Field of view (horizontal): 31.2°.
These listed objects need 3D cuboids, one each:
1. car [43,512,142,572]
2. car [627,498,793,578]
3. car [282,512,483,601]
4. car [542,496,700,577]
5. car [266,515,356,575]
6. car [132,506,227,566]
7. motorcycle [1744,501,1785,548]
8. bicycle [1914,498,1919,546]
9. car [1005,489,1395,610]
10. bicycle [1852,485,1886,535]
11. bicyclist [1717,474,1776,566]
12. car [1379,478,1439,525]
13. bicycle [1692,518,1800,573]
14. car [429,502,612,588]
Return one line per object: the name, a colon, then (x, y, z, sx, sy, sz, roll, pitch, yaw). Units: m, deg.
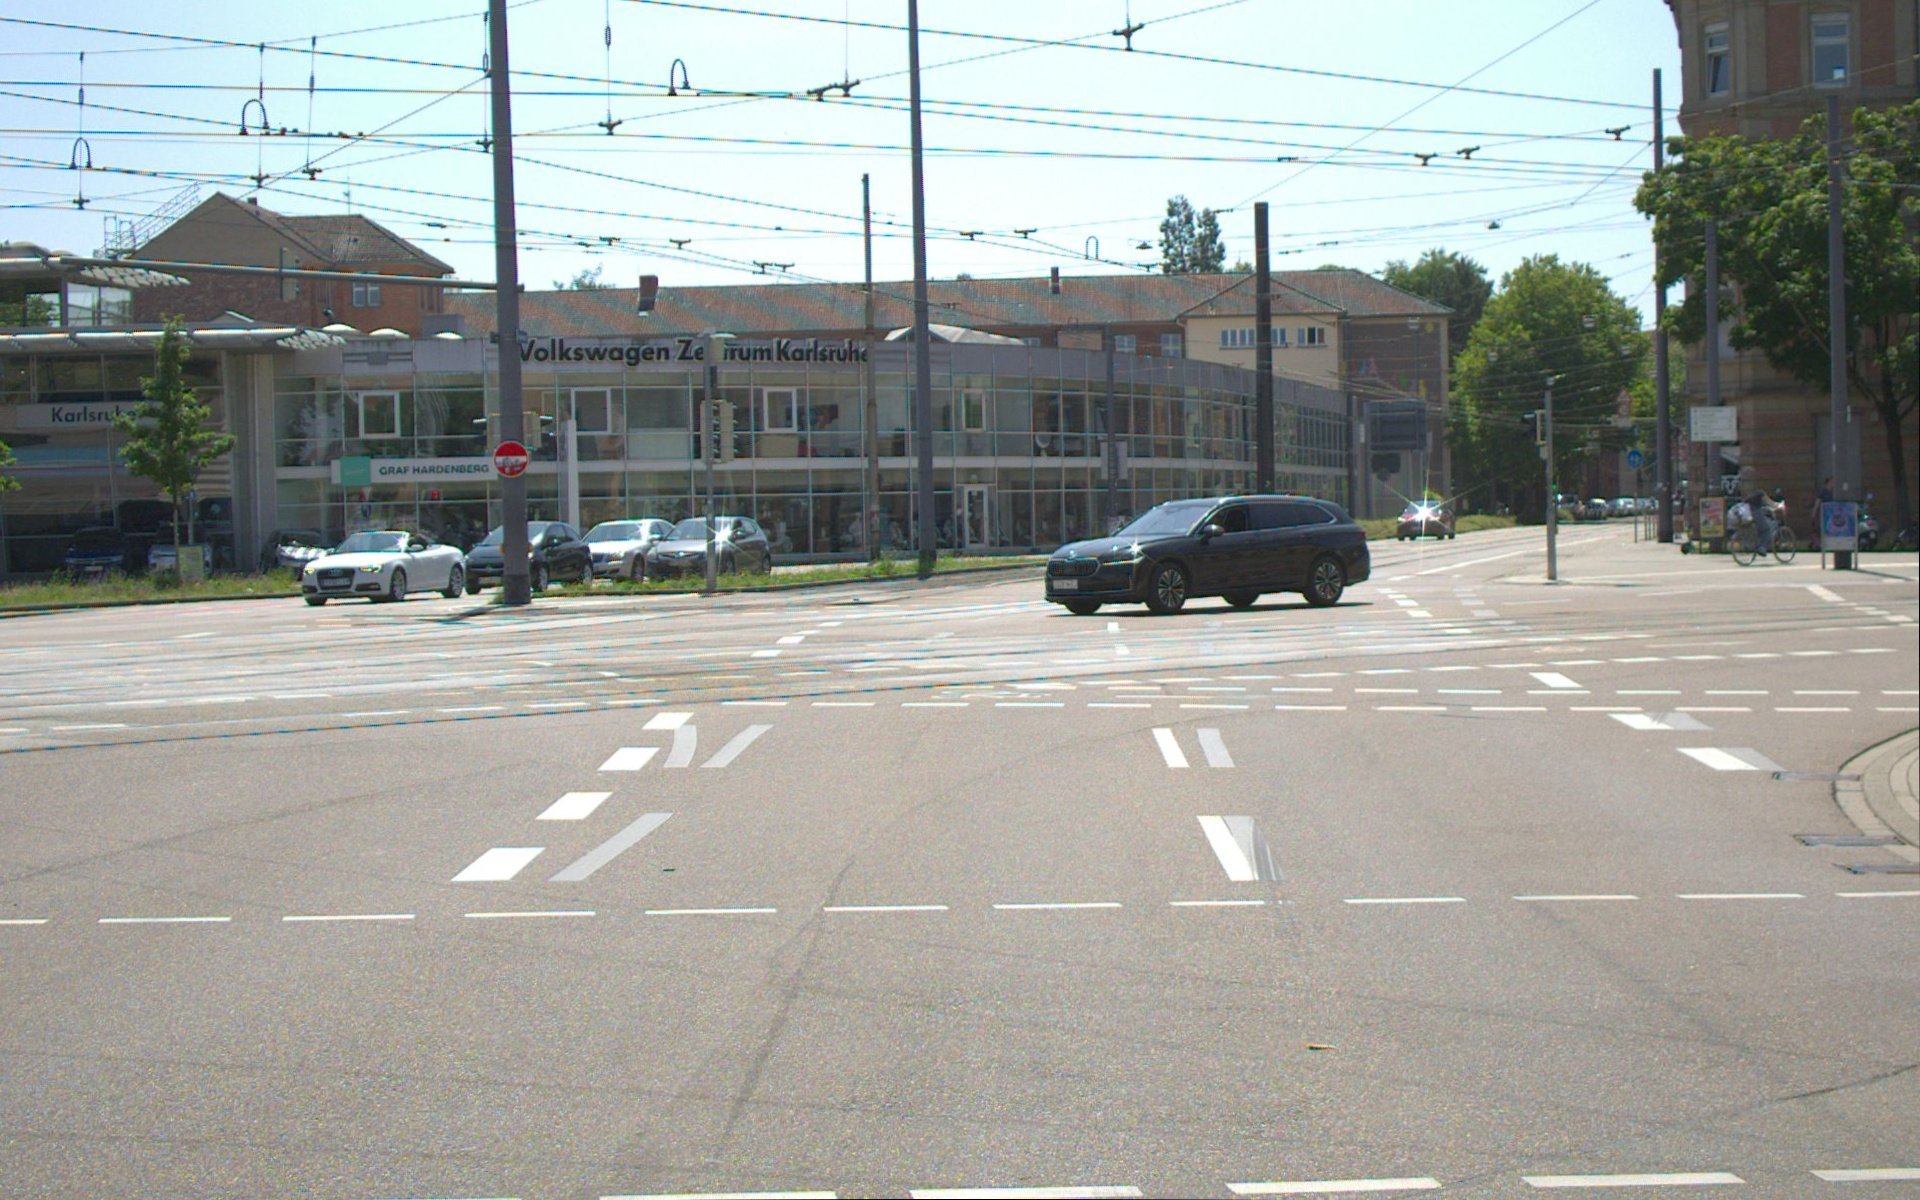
car: (-25.601, -1.708, 101.562, 1.920, 1.701, 4.000, 1, 1, 0)
car: (-5.367, -1.369, 74.495, 1.995, 1.631, 4.843, -1, 2, 16)
car: (-11.007, -0.863, 65.898, 2.078, 1.574, 4.844, -1, 2, 13)
car: (-7.649, -1.469, 77.996, 1.995, 1.733, 4.540, -1, 2, 16)
car: (-19.207, -1.621, 101.912, 1.920, 1.701, 4.000, 1, 1, 0)
car: (-23.049, -1.869, 101.660, 1.920, 1.701, 4.000, 1, 1, 0)
motorcycle: (18.951, -1.786, 81.009, 0.580, 1.071, 1.946, -1, 1, 3)
bicycle: (22.653, -1.839, 80.506, 0.551, 1.116, 1.819, -1, 2, 15)
car: (3.183, -0.680, 45.235, 4.830, 1.460, 2.000, -2, 2, -31)
bicycle: (21.511, -2.129, 81.353, 0.442, 1.142, 2.093, 1, 1, 6)
bicyclist: (15.615, -1.585, 68.254, 1.060, 1.802, 0.479, 1, 0, -25)
car: (17.870, -3.892, 136.697, 1.995, 1.769, 3.998, 1, 1, 12)
bicycle: (15.597, -1.077, 68.229, 2.105, 1.049, 0.693, 1, 1, -25)
car: (-9.157, -1.173, 72.046, 1.995, 1.694, 4.843, -1, 2, 16)
